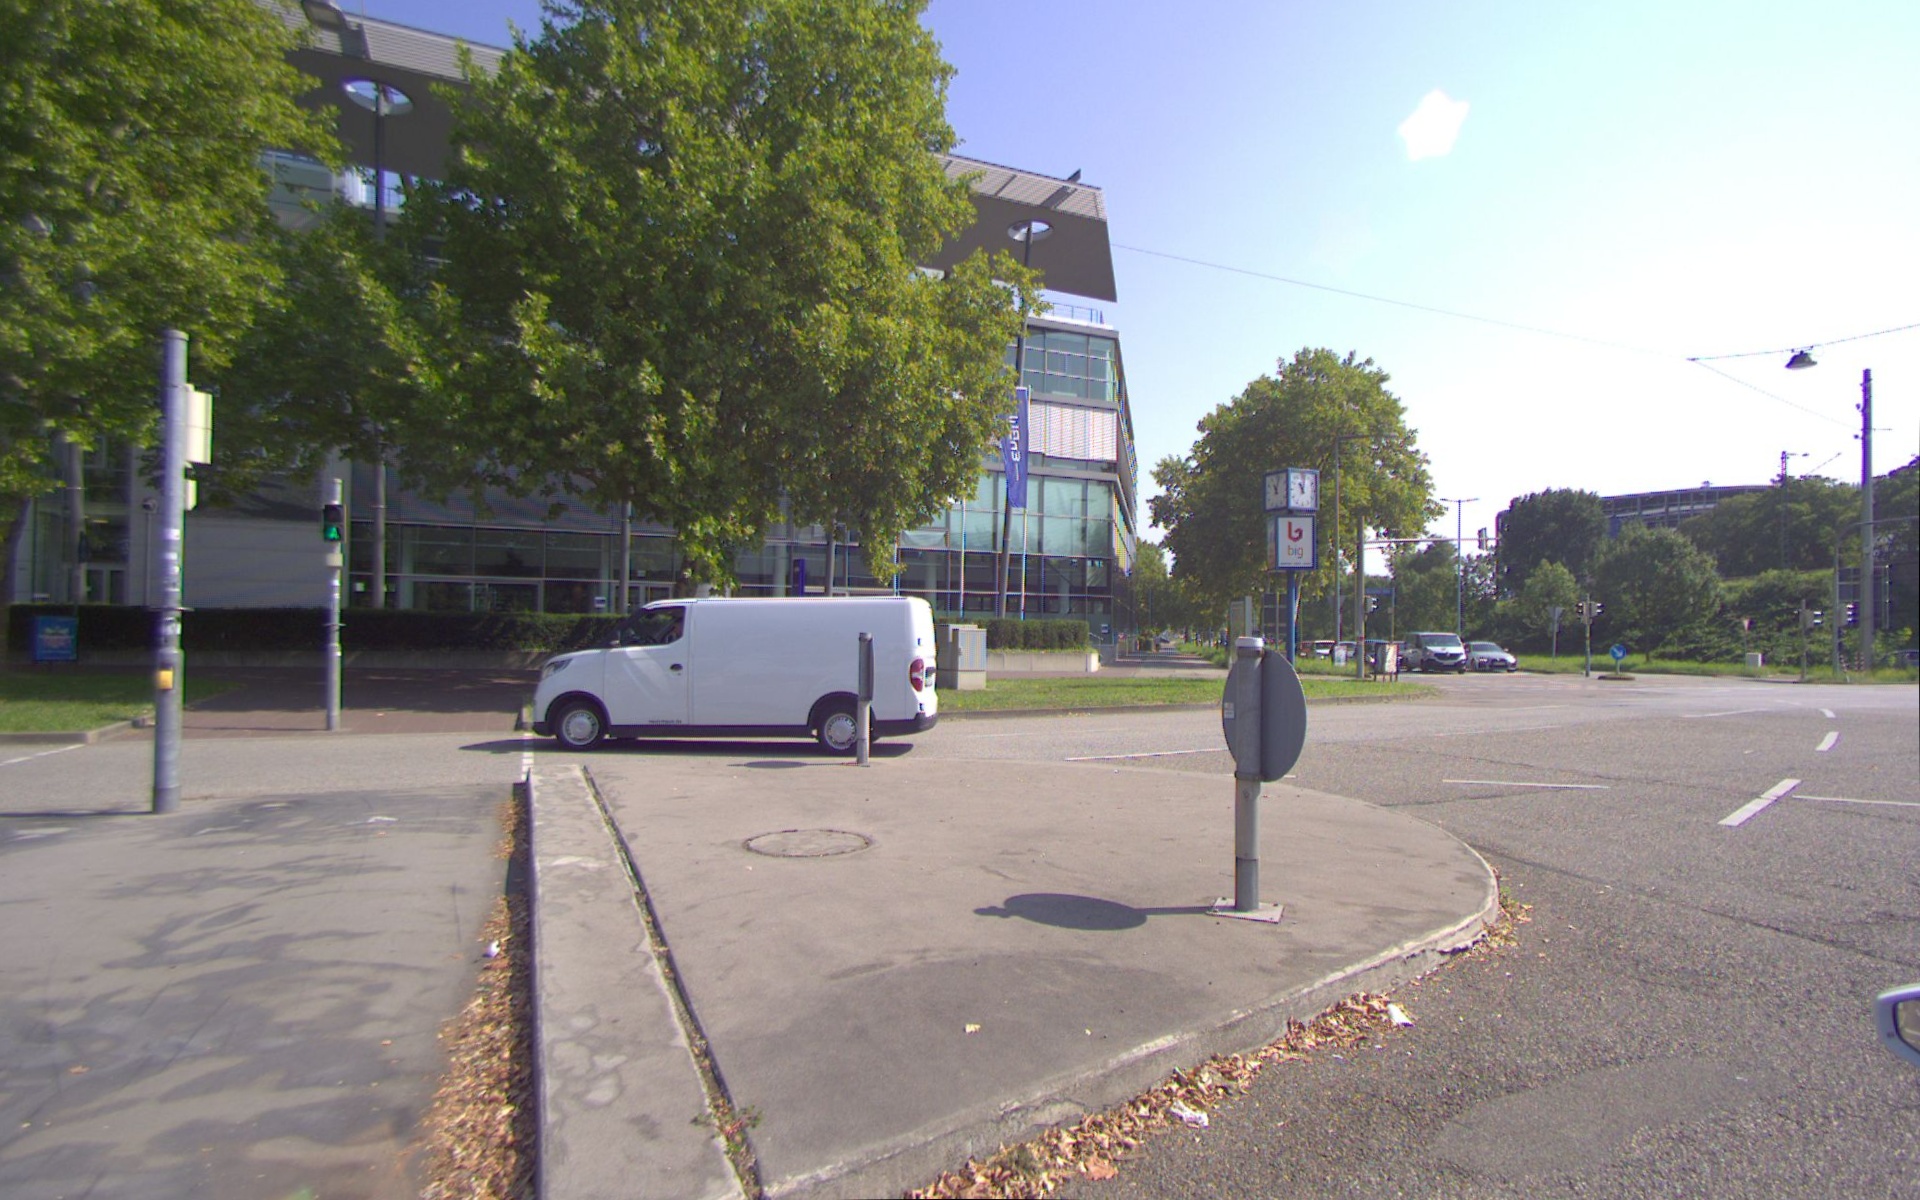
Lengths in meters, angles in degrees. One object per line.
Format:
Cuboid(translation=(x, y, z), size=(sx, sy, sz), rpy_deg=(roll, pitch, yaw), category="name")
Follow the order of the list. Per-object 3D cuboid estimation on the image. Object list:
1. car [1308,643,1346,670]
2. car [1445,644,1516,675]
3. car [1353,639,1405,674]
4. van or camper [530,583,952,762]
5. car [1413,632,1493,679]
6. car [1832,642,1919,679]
Cuboid(translation=(22.063, 3.417, 60.506), size=(1.639, 1.555, 3.734), rpy_deg=(-2, -3, 12), category="car")
Cuboid(translation=(25.794, 2.915, 49.923), size=(1.804, 1.462, 4.610), rpy_deg=(-2, -3, 10), category="car")
Cuboid(translation=(19.978, 2.673, 48.002), size=(1.639, 1.555, 3.733), rpy_deg=(-2, -2, 12), category="car")
Cuboid(translation=(-2.626, 0.864, 12.767), size=(4.848, 1.973, 1.848), rpy_deg=(1, -2, 5), category="van or camper")
Cuboid(translation=(22.707, 2.512, 46.489), size=(1.894, 1.983, 5.217), rpy_deg=(0, -1, 10), category="car")
Cuboid(translation=(42.855, 2.789, 46.071), size=(3.925, 1.447, 1.784), rpy_deg=(2, 1, 26), category="car")
